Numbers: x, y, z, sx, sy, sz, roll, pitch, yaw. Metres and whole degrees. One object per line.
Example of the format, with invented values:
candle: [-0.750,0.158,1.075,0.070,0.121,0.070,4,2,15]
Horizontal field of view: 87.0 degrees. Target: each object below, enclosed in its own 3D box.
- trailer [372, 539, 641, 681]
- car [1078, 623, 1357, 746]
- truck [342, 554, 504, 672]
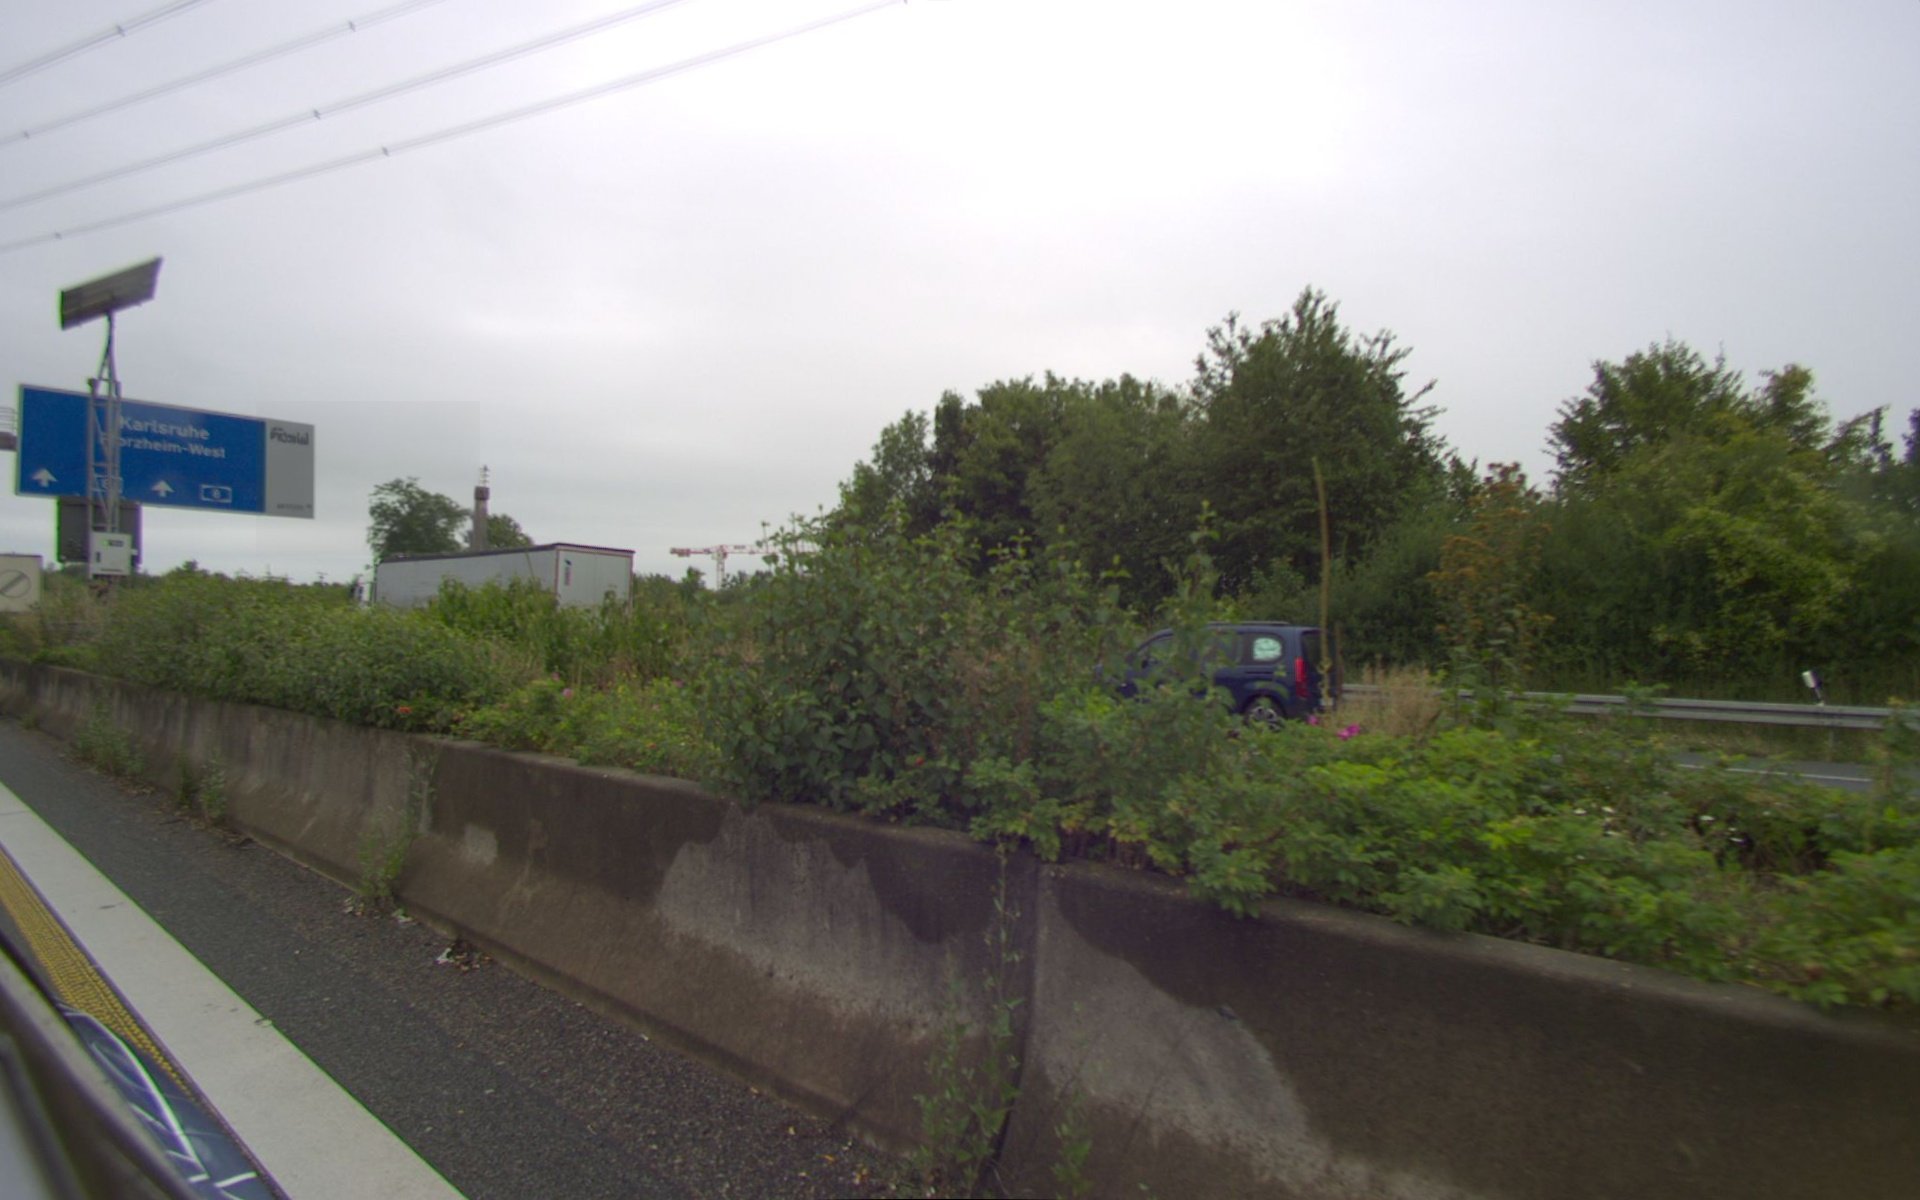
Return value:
trailer: [-15.756,0.456,34.237,13.242,4.054,2.757,-1,-4,41]
car: [4.144,1.269,16.588,3.998,1.762,1.973,-1,-3,41]
truck: [-20.390,0.567,38.254,7.228,4.054,2.757,-1,-4,41]
